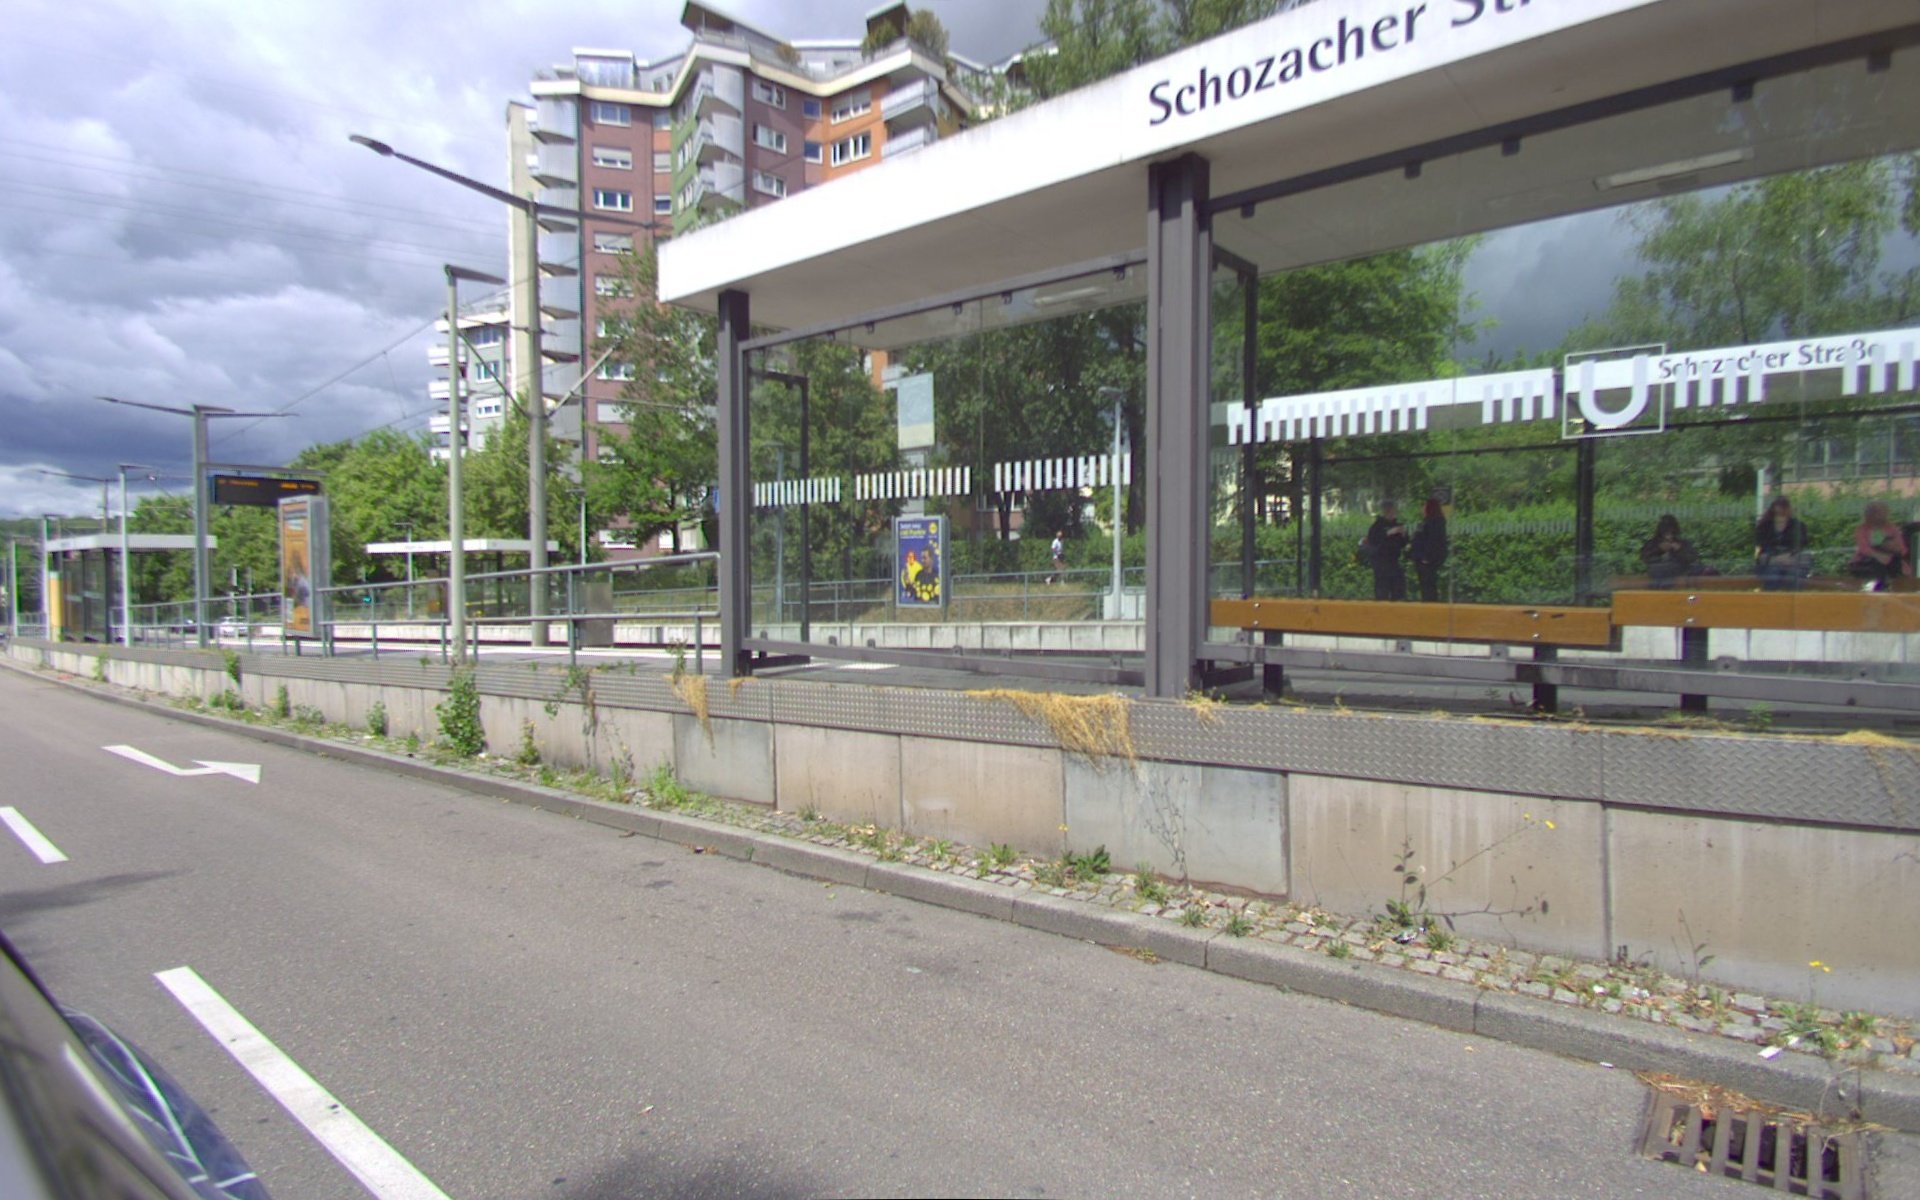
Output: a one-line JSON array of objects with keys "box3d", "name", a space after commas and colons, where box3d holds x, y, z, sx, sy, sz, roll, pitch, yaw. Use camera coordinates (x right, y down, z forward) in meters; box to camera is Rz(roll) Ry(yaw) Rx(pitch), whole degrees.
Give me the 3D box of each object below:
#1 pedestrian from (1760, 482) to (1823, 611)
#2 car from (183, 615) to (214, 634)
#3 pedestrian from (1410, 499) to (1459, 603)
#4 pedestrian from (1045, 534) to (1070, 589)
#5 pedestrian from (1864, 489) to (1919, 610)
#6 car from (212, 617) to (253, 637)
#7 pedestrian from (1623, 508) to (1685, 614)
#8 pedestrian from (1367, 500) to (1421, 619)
[{"box3d": [9.305, -0.577, 11.325, 0.506, 1.379, 0.637, -2, -1, 41], "name": "pedestrian"}, {"box3d": [-65.490, 2.092, 86.963, 1.635, 1.524, 3.739, 0, -1, -45], "name": "car"}, {"box3d": [6.547, -0.664, 13.957, 0.520, 1.390, 0.537, 2, 1, 32], "name": "pedestrian"}, {"box3d": [3.154, -1.244, 32.833, 0.504, 1.725, 0.643, -2, -1, 41], "name": "pedestrian"}, {"box3d": [10.008, -0.518, 10.792, 0.517, 1.246, 0.734, -2, -1, 41], "name": "pedestrian"}, {"box3d": [-53.856, 2.005, 74.893, 3.998, 1.429, 1.637, -2, -1, 42], "name": "car"}, {"box3d": [8.415, -0.461, 12.291, 0.541, 1.246, 0.516, -1, -1, 29], "name": "pedestrian"}, {"box3d": [6.178, -0.567, 14.425, 0.558, 1.657, 0.520, -1, -1, 9], "name": "pedestrian"}]
